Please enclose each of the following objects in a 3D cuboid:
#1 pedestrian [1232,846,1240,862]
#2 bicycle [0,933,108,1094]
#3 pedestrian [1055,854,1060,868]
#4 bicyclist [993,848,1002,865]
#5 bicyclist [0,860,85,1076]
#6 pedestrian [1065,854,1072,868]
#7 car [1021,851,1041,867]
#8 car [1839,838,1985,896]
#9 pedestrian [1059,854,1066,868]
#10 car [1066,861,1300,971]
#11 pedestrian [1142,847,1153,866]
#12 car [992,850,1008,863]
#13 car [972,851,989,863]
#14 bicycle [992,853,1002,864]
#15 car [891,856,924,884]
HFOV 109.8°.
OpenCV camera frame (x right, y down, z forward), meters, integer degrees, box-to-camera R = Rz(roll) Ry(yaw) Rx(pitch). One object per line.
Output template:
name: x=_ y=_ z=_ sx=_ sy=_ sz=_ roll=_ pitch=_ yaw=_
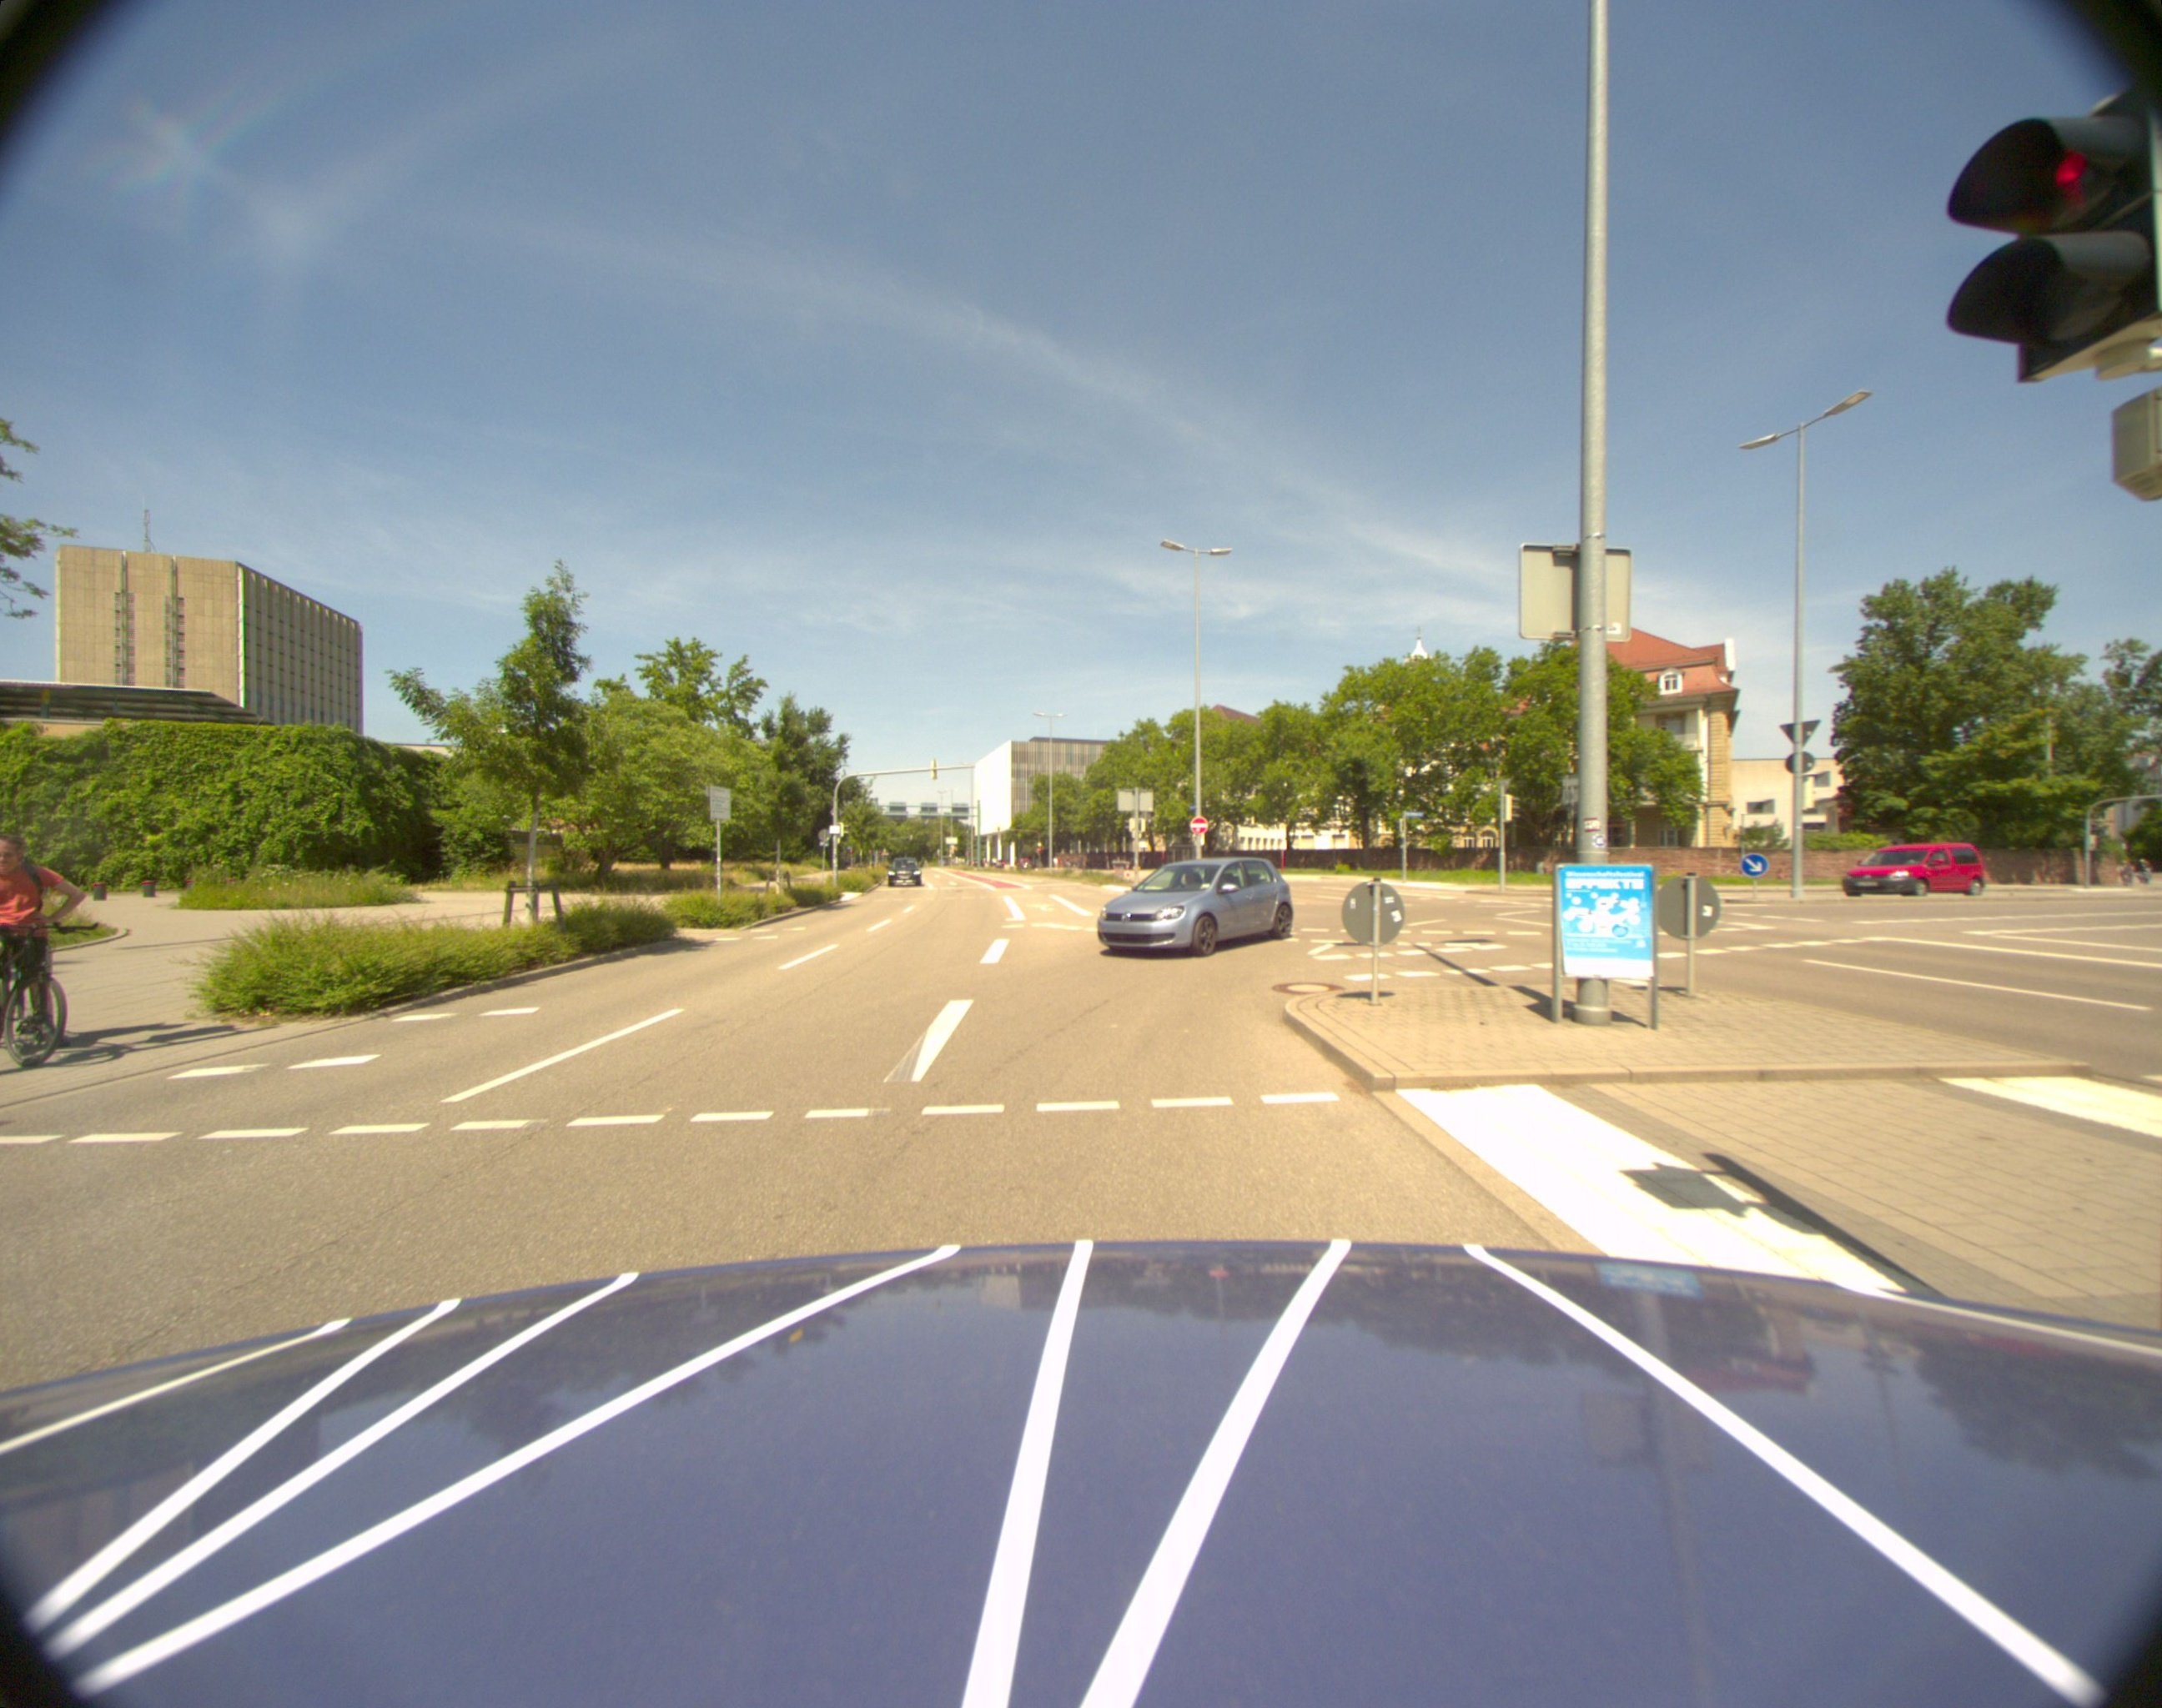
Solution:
pedestrian: x=16.394 y=0.018 z=80.248 sx=0.590 sy=1.710 sz=0.525 roll=1 pitch=-2 yaw=-41
bicycle: x=-8.768 y=1.241 z=6.210 sx=1.992 sy=1.039 sz=0.560 roll=1 pitch=0 yaw=25
pedestrian: x=-3.387 y=0.975 z=109.336 sx=0.550 sy=2.001 sz=0.536 roll=0 pitch=-1 yaw=-15
bicyclist: x=-9.616 y=0.274 z=87.106 sx=0.710 sy=1.875 sz=1.136 roll=0 pitch=-2 yaw=-25
bicyclist: x=-8.826 y=0.906 z=6.275 sx=0.701 sy=1.705 sz=0.552 roll=0 pitch=-1 yaw=24
pedestrian: x=-1.859 y=0.976 z=109.942 sx=0.789 sy=2.001 sz=0.839 roll=0 pitch=-2 yaw=-16
car: x=-6.753 y=0.718 z=102.228 sx=2.001 sy=2.001 sz=4.210 roll=0 pitch=-2 yaw=-15
car: x=27.010 y=0.423 z=24.703 sx=4.284 sy=1.755 sz=1.831 roll=0 pitch=-2 yaw=-23
pedestrian: x=-2.689 y=0.977 z=109.658 sx=0.789 sy=2.001 sz=0.963 roll=0 pitch=-2 yaw=-16
car: x=1.818 y=0.873 z=12.514 sx=1.828 sy=1.406 sz=4.002 roll=-1 pitch=1 yaw=42
pedestrian: x=8.175 y=0.321 z=93.039 sx=0.851 sy=2.276 sz=1.073 roll=0 pitch=-2 yaw=-31
car: x=-11.707 y=0.385 z=109.667 sx=1.782 sy=1.673 sz=3.997 roll=0 pitch=-2 yaw=-13
car: x=-14.377 y=0.461 z=108.818 sx=1.780 sy=1.658 sz=3.995 roll=0 pitch=-2 yaw=-17
bicycle: x=-9.658 y=0.512 z=87.111 sx=0.522 sy=1.229 sz=2.188 roll=0 pitch=-2 yaw=-24
car: x=-10.252 y=0.981 z=45.186 sx=1.709 sy=1.576 sz=4.553 roll=0 pitch=-2 yaw=-10
